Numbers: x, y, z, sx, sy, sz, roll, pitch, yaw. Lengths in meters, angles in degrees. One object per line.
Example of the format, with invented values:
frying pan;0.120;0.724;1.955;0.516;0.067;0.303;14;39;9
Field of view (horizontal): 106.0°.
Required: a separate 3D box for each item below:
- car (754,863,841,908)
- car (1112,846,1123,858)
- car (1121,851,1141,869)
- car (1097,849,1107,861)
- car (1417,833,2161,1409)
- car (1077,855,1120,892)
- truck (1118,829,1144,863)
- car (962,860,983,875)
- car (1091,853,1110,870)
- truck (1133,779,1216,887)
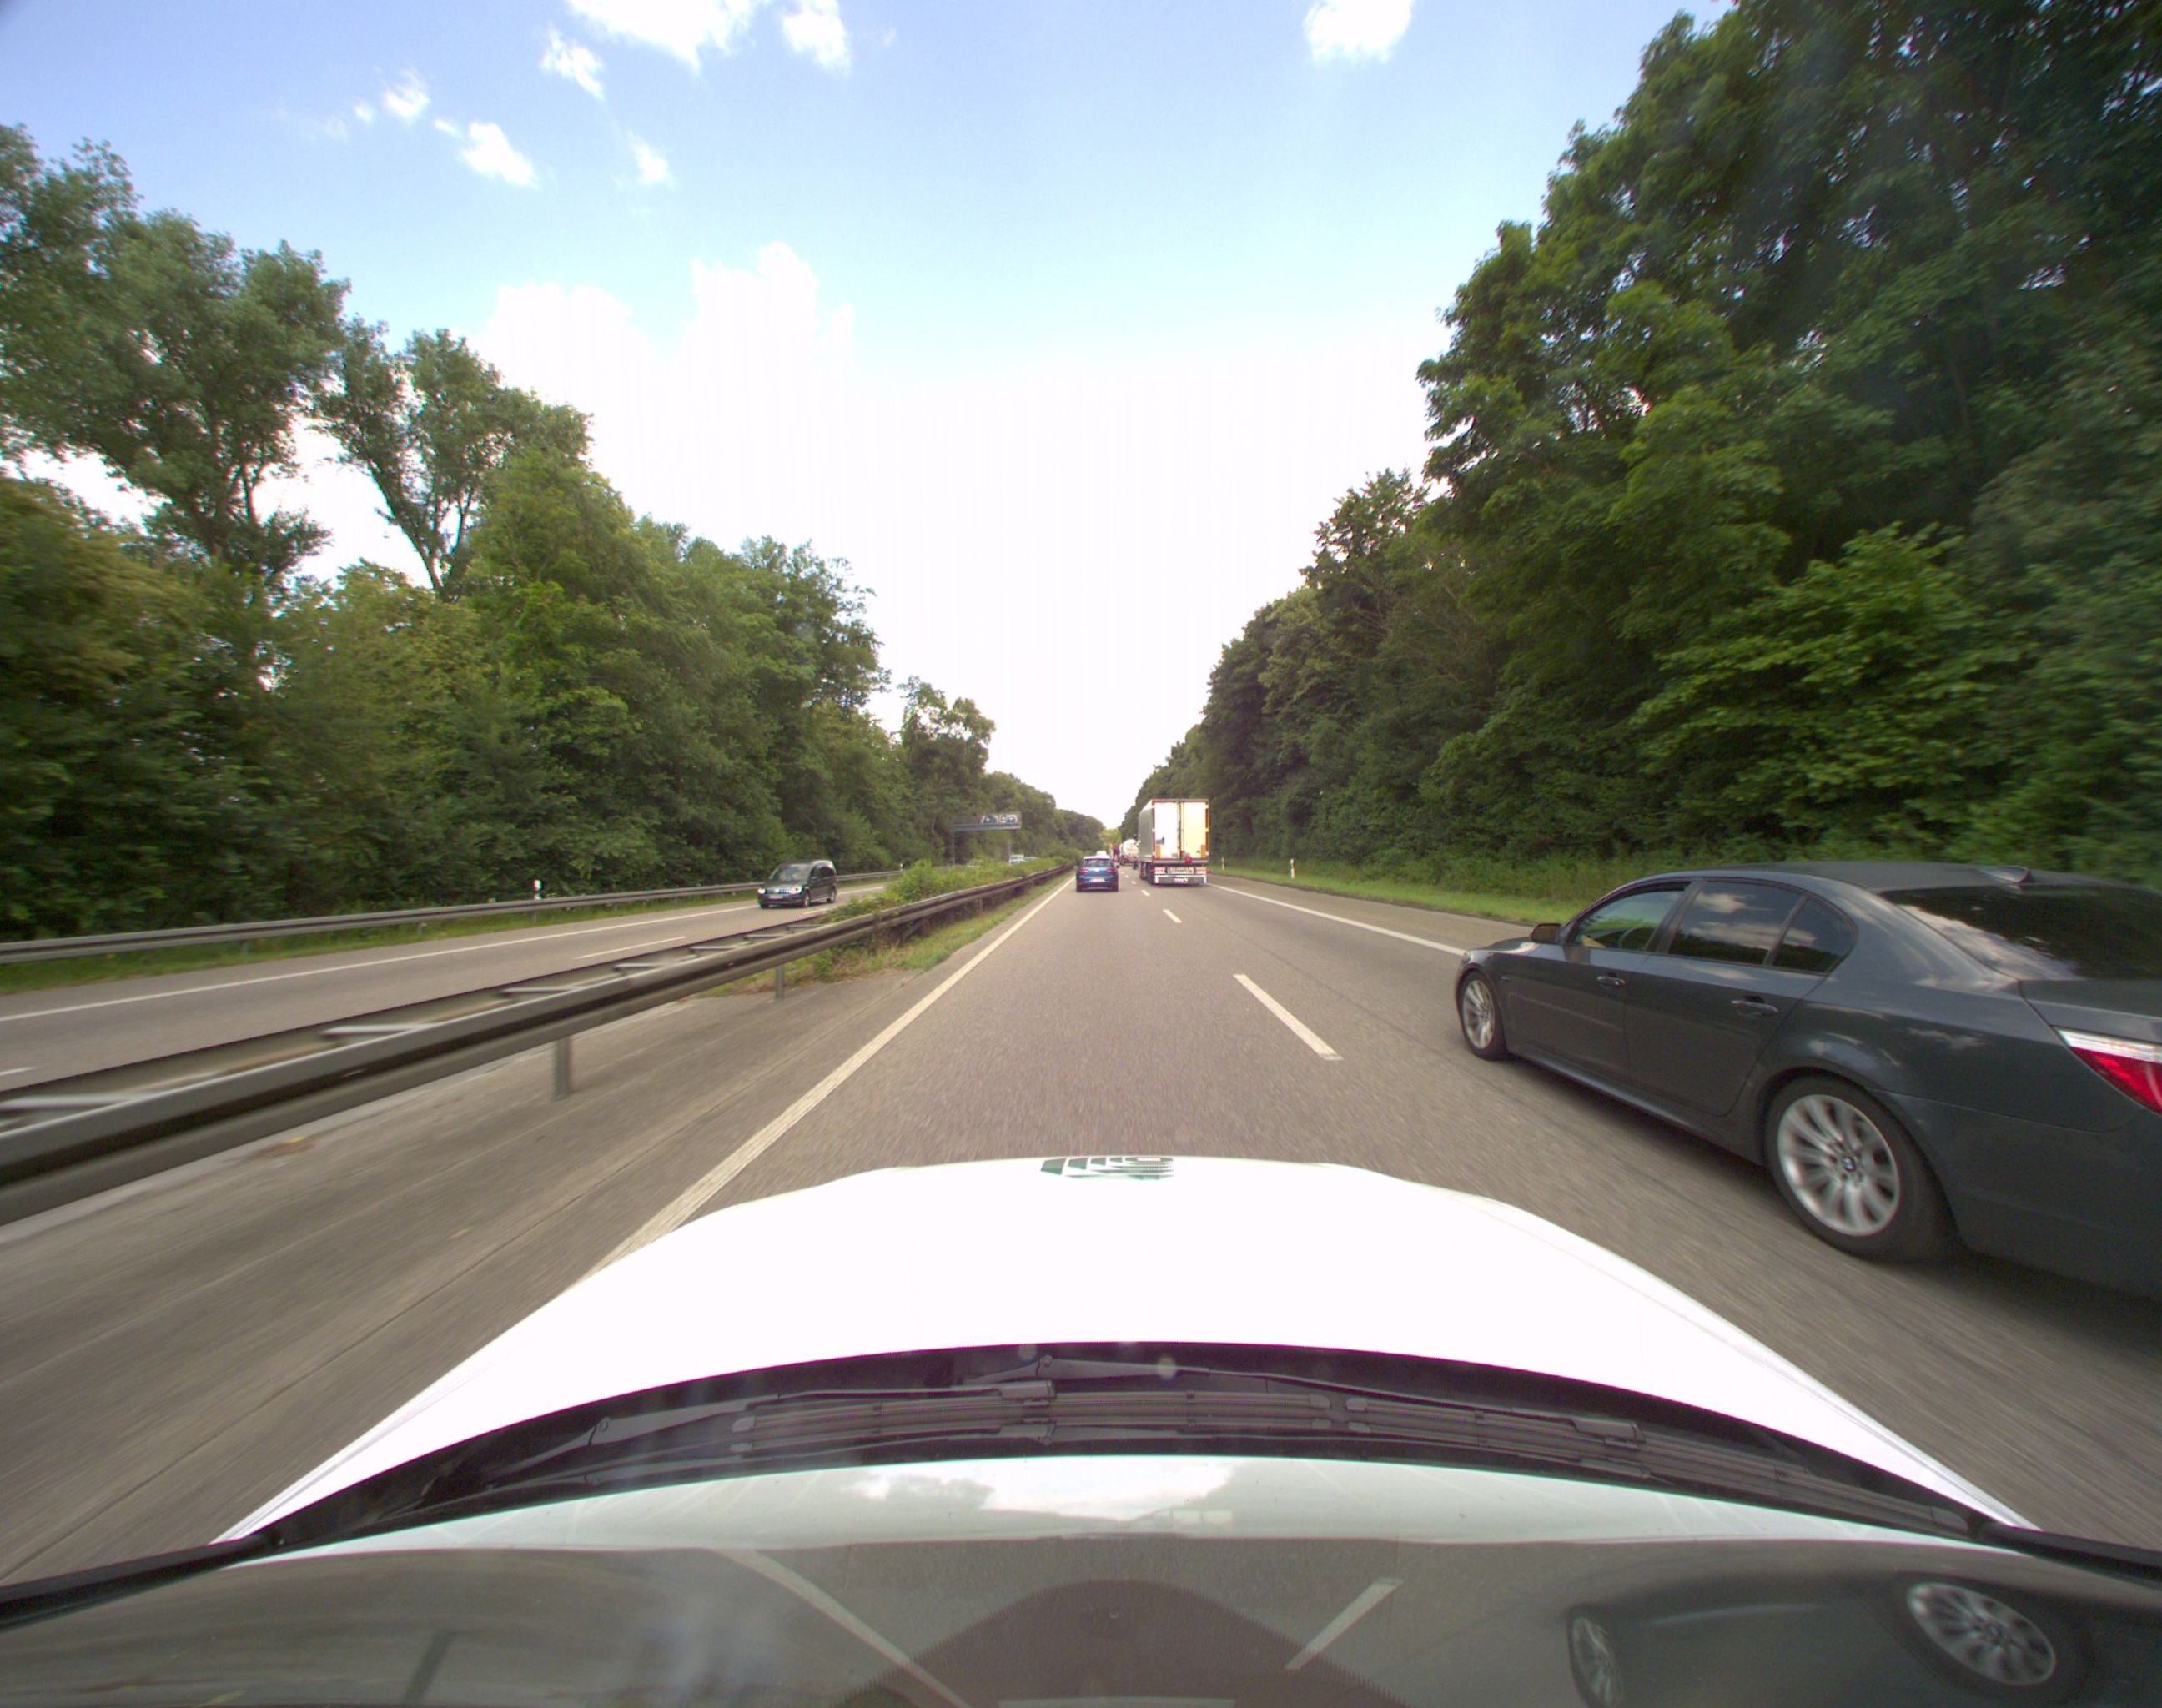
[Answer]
car;-11.132;1.202;32.333;1.754;1.593;4.634;0;0;1
car;7.497;-0.457;167.016;1.988;2.327;4.440;-2;0;-1
car;4.998;0.610;81.676;1.881;1.729;4.002;-2;0;2
car;4.349;0.194;169.432;1.988;2.255;4.440;-2;0;-1
car;3.702;0.682;4.508;1.768;1.475;4.881;0;0;1
car;0.726;0.800;34.529;1.699;1.470;4.001;0;0;1
truck;6.708;-0.955;111.390;3.219;4.386;12.977;-1;-1;2
car;-10.742;1.357;80.869;1.531;1.396;3.512;-2;0;1
car;1.801;0.692;74.083;1.659;1.500;4.154;-1;0;2
truck;4.546;-0.973;41.861;3.229;4.716;11.012;-2;0;2
